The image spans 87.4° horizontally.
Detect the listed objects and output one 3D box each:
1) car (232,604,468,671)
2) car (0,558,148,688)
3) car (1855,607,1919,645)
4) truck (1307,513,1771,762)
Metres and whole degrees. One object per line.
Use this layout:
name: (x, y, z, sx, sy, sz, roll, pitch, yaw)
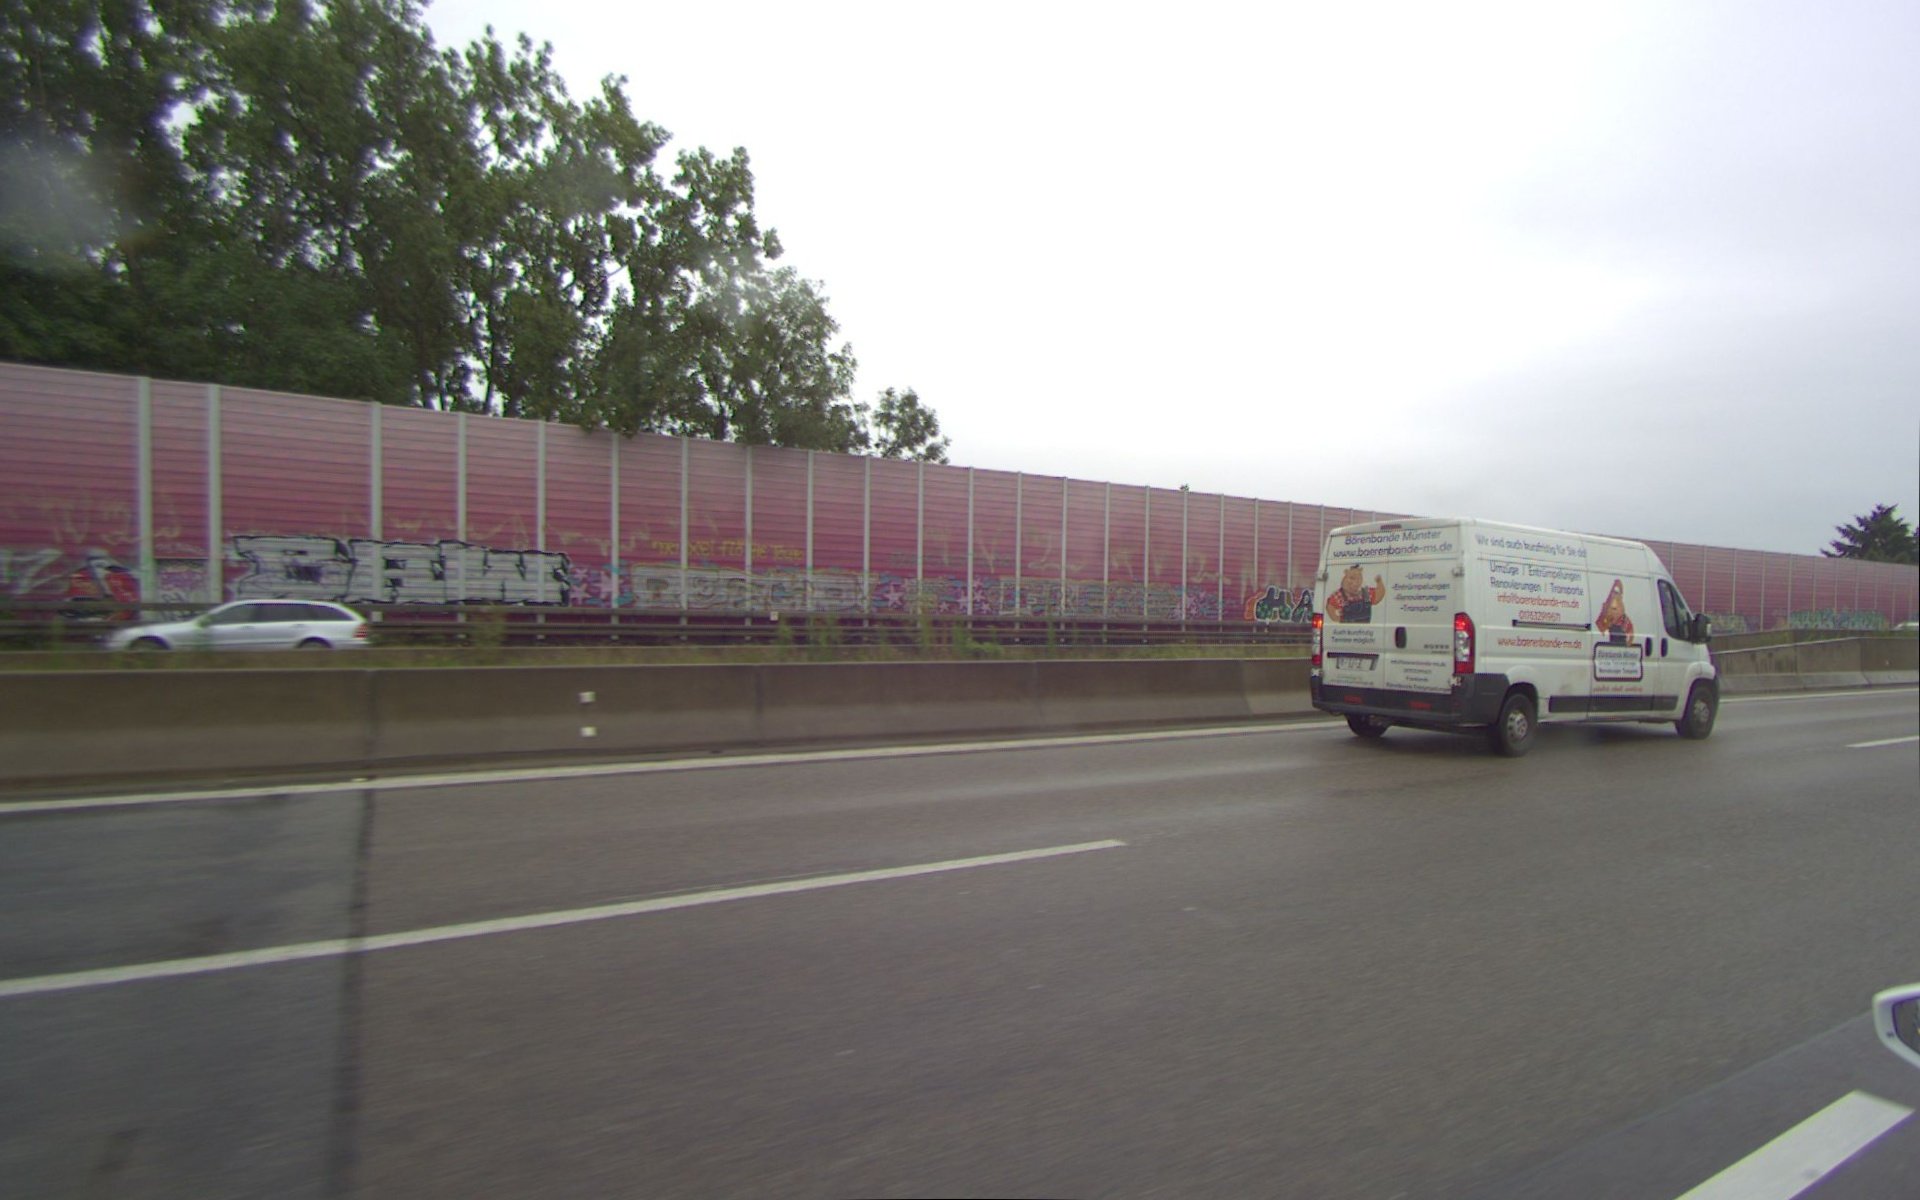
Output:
car: (-13.159, 0.787, 21.927, 4.230, 1.311, 1.849, 1, 0, -31)
car: (-13.994, 0.268, 13.115, 4.987, 1.670, 1.983, 1, 0, -31)
car: (44.759, 1.234, 47.904, 3.955, 1.592, 1.983, 1, 3, -31)
truck: (7.517, 0.455, 12.746, 6.507, 2.512, 2.226, 1, -1, -31)
